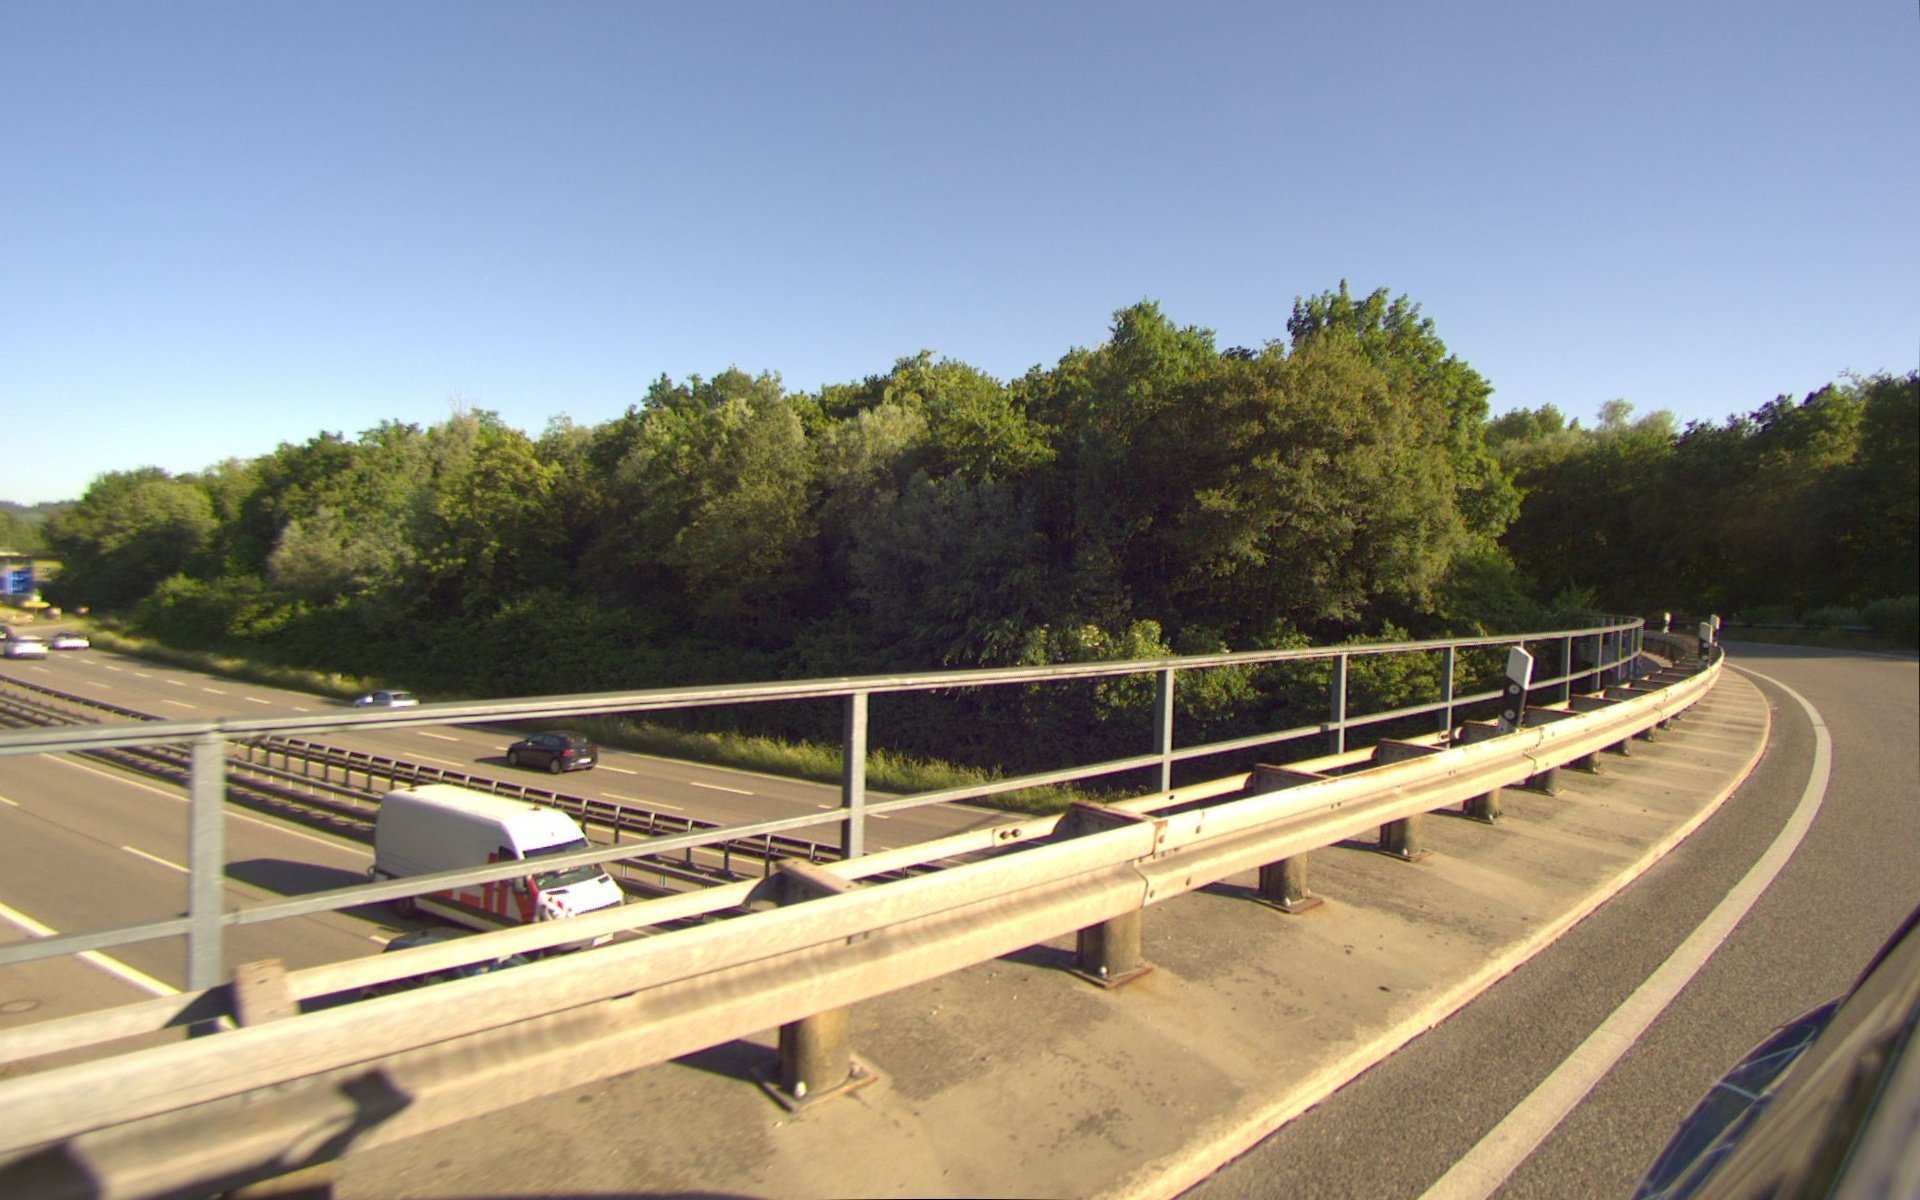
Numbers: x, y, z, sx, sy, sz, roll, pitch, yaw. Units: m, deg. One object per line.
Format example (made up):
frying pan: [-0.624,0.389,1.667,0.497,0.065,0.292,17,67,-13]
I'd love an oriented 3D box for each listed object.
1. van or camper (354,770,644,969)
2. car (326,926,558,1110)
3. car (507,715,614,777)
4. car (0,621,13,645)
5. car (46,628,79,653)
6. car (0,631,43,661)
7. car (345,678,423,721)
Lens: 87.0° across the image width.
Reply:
van or camper: [-10.254,5.660,22.280,6.773,2.679,2.196,3,-1,30]
car: [-7.789,6.123,15.147,3.555,1.357,1.400,3,0,31]
car: [-15.324,5.542,38.779,3.972,1.694,1.846,3,0,34]
car: [-82.726,2.812,86.688,3.978,1.861,1.736,2,0,37]
car: [-72.687,3.250,81.966,1.731,1.861,3.866,2,-1,-45]
car: [-67.519,3.285,72.544,3.816,1.861,1.865,3,0,37]
car: [-29.053,4.962,51.029,3.840,1.683,1.724,3,0,31]
